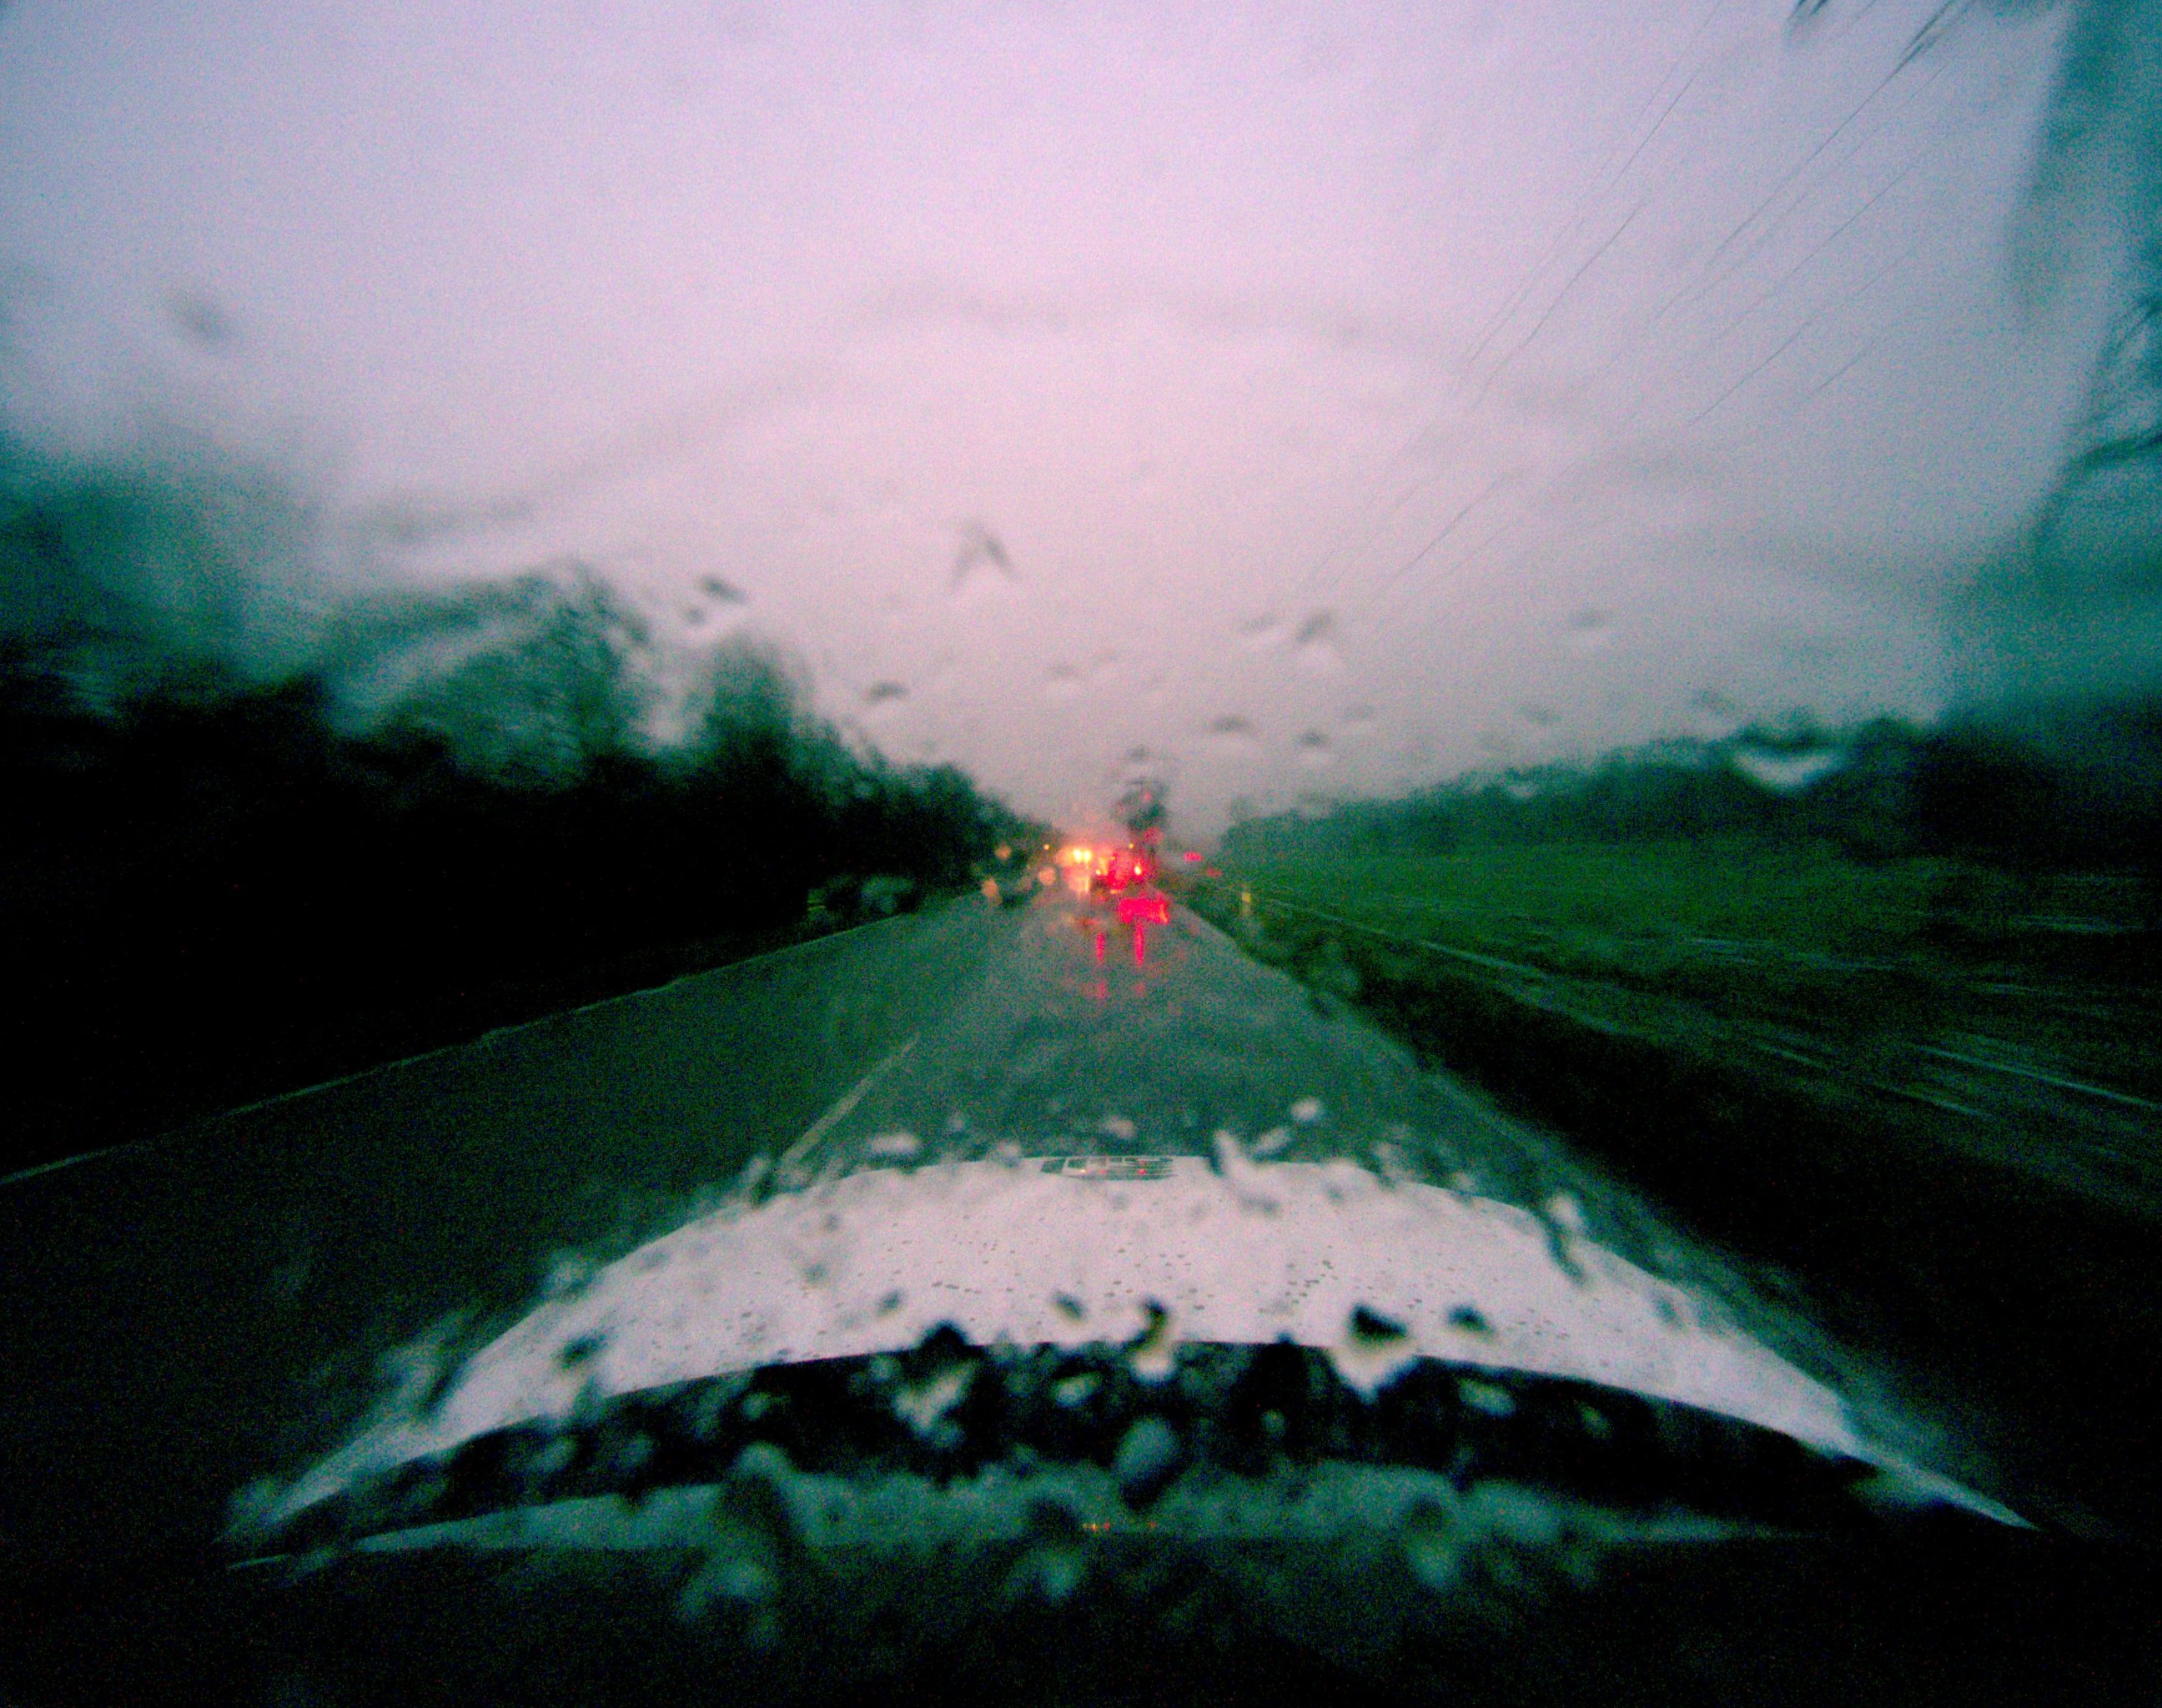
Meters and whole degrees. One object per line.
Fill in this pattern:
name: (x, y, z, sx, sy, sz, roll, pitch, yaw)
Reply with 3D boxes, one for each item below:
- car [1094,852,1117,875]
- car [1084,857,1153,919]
car: (2.225, 0.843, 74.548, 1.986, 2.013, 4.002, -1, 0, 2)
car: (1.157, 1.021, 25.980, 1.986, 1.752, 4.001, -2, 0, 1)
